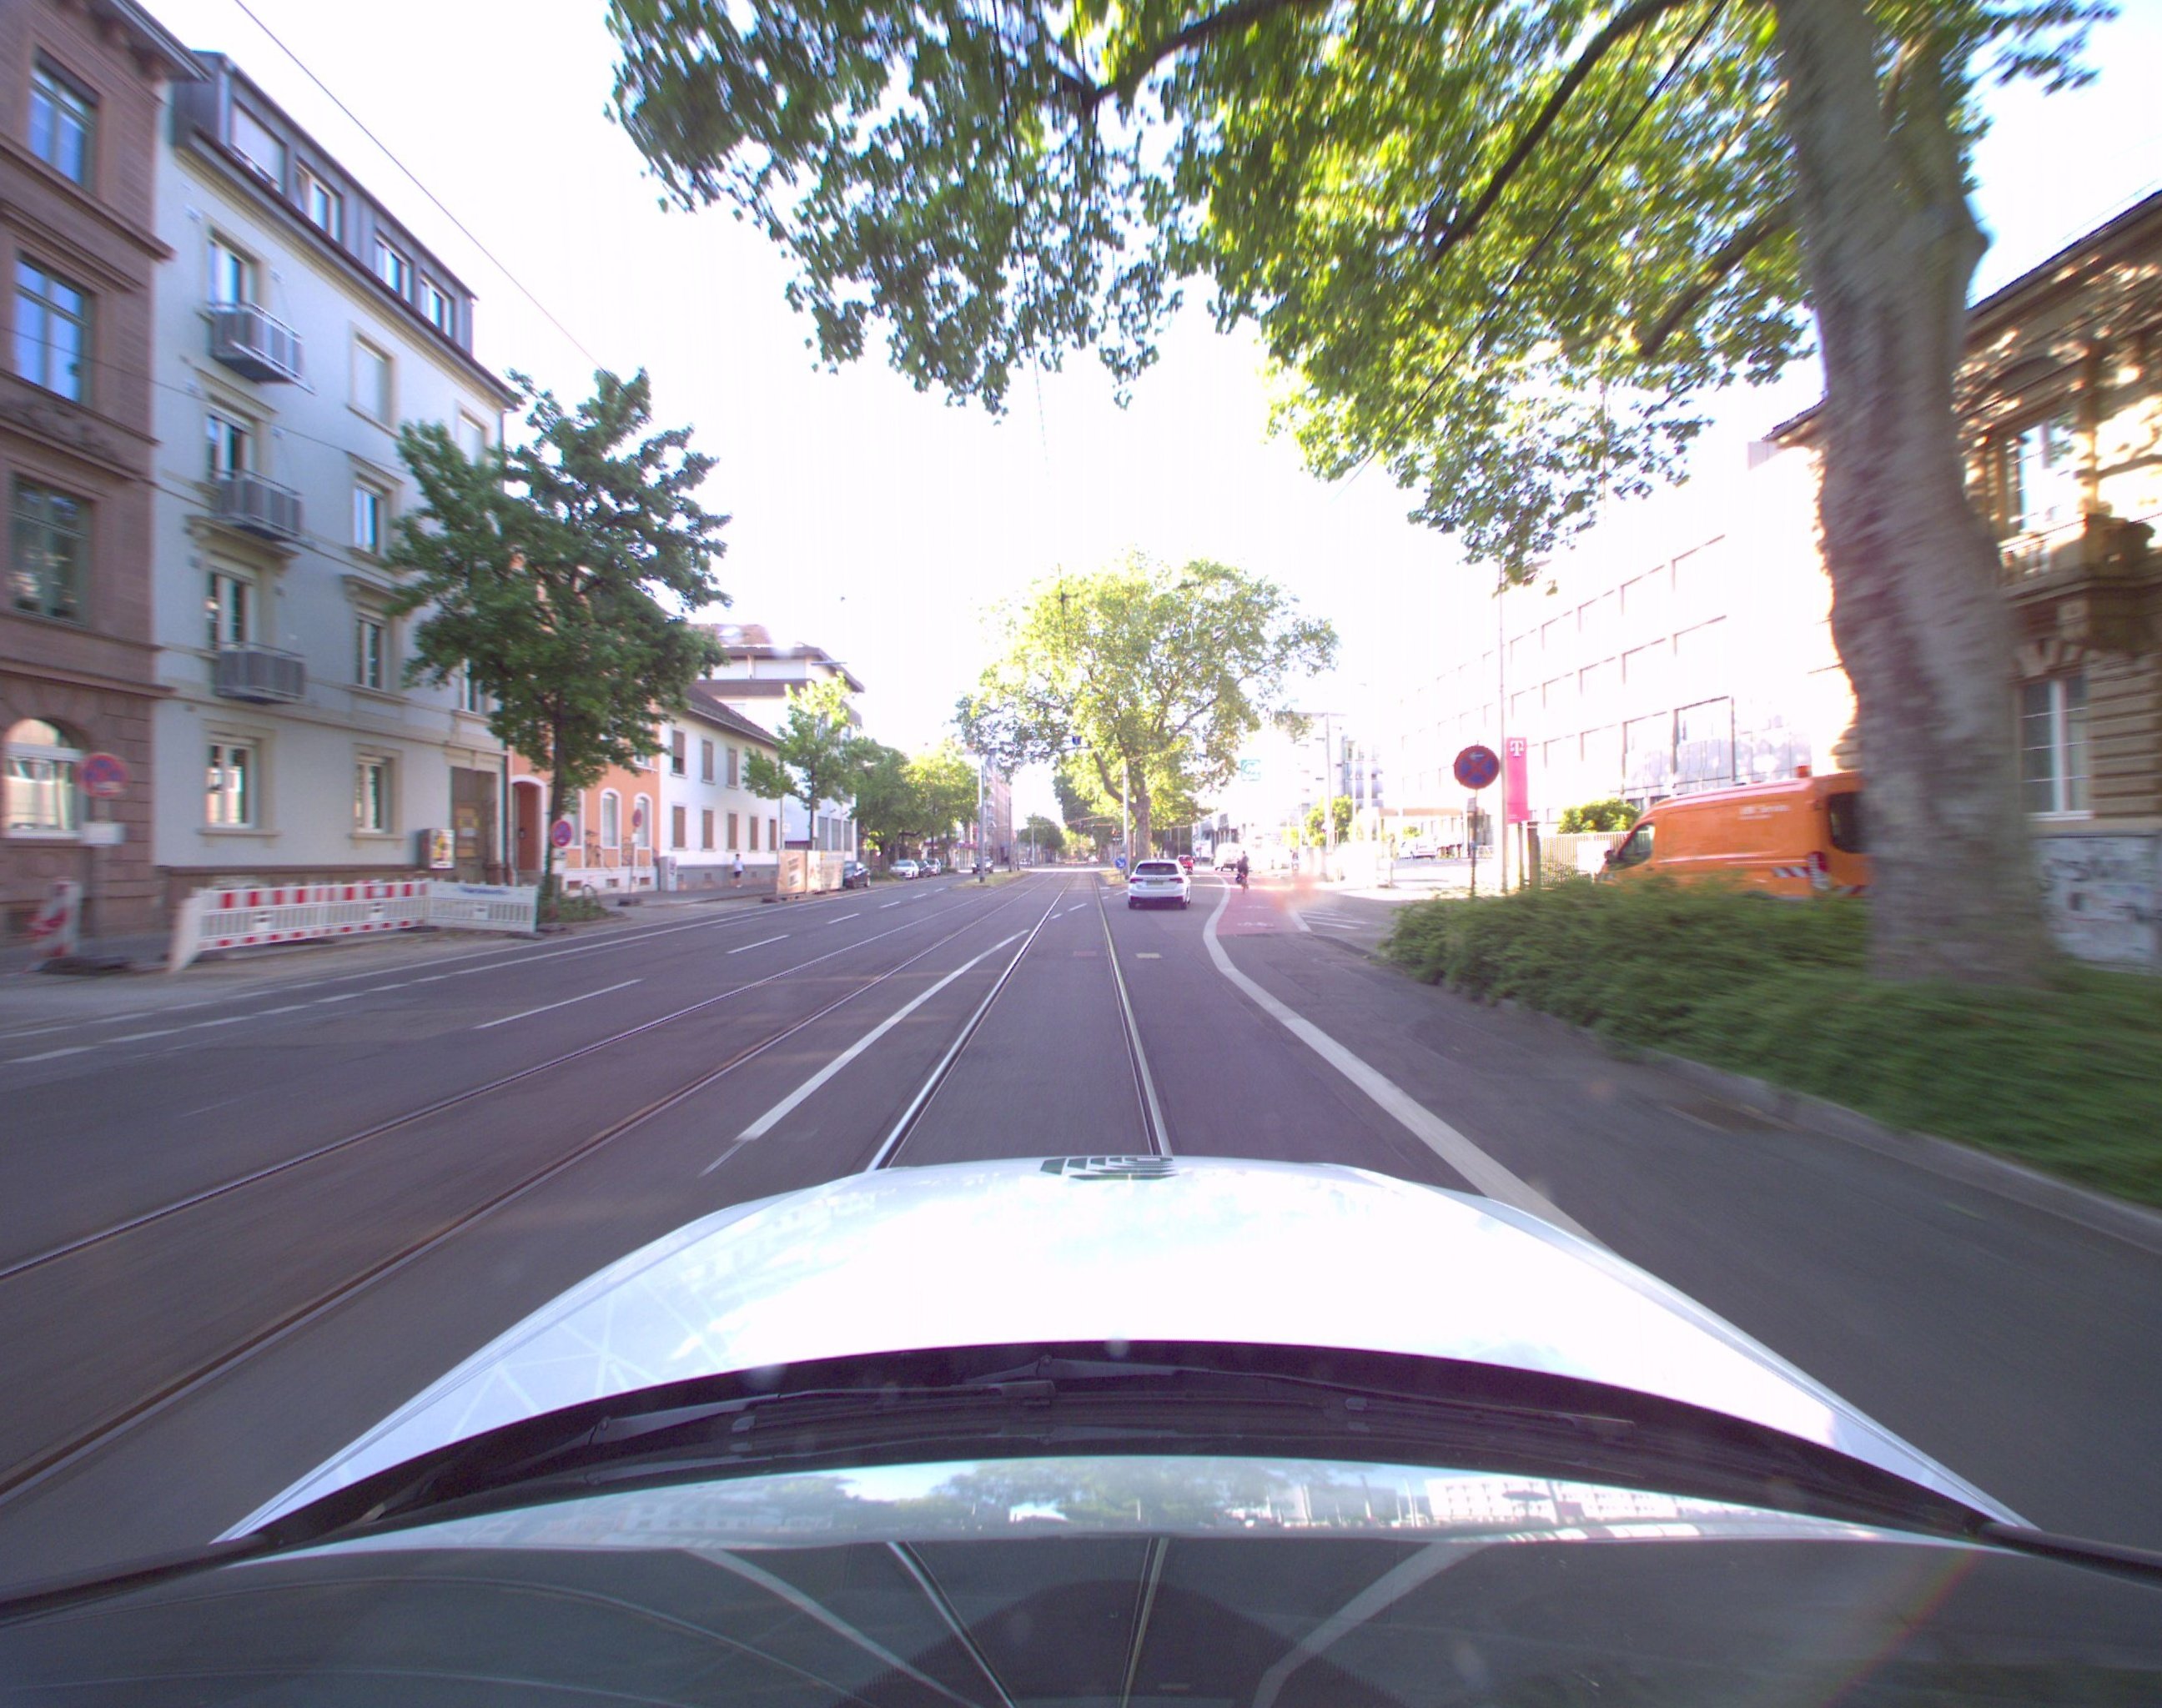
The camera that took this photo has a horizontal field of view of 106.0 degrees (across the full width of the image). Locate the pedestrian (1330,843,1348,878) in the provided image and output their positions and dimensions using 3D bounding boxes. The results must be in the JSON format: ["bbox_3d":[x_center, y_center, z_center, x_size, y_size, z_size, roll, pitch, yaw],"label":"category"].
[{"bbox_3d":[12.339,0.305,38.940,0.689,1.684,0.936,-1,-1,24],"label":"pedestrian"}]

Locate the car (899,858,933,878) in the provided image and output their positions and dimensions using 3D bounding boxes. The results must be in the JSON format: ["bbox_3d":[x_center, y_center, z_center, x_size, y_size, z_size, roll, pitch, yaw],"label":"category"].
[{"bbox_3d":[-13.522,1.119,67.061,1.988,1.476,4.646,-1,0,-2],"label":"car"}]

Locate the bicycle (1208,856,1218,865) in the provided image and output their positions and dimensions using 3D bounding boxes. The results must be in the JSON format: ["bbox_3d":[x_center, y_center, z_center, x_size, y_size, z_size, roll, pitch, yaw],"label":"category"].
[{"bbox_3d":[18.511,0.916,114.225,0.790,1.161,2.498,-1,0,-2],"label":"bicycle"}]

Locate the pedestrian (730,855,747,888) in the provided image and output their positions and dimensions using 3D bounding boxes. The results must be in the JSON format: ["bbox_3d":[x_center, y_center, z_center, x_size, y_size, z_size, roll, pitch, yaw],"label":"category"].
[{"bbox_3d":[-16.879,0.862,40.161,0.592,1.570,0.639,-1,0,-3],"label":"pedestrian"}]

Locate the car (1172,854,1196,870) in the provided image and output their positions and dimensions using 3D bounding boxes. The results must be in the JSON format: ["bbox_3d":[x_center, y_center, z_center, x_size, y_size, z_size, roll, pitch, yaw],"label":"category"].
[{"bbox_3d":[10.251,0.771,81.224,1.833,1.489,3.716,-1,0,0],"label":"car"}]

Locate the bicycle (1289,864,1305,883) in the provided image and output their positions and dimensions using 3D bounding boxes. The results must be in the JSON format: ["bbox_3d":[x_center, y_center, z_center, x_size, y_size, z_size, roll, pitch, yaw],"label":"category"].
[{"bbox_3d":[12.622,1.120,47.652,0.670,1.032,1.906,-3,-1,10],"label":"bicycle"}]

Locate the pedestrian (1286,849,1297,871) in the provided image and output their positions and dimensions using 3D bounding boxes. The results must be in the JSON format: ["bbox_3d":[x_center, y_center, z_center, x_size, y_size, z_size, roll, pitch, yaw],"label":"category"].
[{"bbox_3d":[17.351,0.495,67.271,0.781,1.748,0.774,-2,0,9],"label":"pedestrian"}]

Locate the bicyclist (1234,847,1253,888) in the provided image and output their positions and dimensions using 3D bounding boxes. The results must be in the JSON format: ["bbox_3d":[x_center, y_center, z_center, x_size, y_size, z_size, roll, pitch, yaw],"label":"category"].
[{"bbox_3d":[6.609,0.540,33.110,0.738,1.669,0.747,1,0,10],"label":"bicyclist"}]

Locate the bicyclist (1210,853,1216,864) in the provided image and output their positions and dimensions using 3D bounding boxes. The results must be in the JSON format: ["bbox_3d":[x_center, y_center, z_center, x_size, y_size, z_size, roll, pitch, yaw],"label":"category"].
[{"bbox_3d":[18.511,0.642,114.089,0.783,1.635,0.638,-1,0,-3],"label":"bicyclist"}]

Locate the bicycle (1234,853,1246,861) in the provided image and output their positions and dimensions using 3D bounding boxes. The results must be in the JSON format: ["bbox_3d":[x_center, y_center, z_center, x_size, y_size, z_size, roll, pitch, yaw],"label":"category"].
[{"bbox_3d":[29.008,0.500,148.446,1.929,1.443,0.575,-1,0,-2],"label":"bicycle"}]

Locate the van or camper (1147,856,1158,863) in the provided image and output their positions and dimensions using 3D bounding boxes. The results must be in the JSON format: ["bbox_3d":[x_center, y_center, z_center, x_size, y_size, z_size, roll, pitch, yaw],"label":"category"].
[{"bbox_3d":[18.205,1.403,206.650,2.140,1.750,4.427,-2,0,-3],"label":"van or camper"}]

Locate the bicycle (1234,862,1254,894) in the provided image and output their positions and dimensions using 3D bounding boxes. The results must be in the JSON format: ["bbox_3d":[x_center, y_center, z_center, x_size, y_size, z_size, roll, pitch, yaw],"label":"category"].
[{"bbox_3d":[6.623,0.942,33.180,0.739,1.224,2.162,1,0,10],"label":"bicycle"}]

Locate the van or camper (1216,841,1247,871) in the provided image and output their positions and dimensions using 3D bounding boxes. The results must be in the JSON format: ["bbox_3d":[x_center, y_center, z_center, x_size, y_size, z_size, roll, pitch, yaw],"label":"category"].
[{"bbox_3d":[14.478,0.207,78.761,2.259,2.733,6.353,1,0,4],"label":"van or camper"}]

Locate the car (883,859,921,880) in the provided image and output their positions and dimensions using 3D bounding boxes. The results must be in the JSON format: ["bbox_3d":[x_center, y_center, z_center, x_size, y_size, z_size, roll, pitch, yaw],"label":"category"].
[{"bbox_3d":[-13.358,1.117,61.145,1.988,1.471,4.402,-1,0,-2],"label":"car"}]

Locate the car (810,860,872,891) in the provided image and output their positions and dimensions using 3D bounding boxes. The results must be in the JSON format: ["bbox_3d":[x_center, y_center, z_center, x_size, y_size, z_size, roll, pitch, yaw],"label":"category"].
[{"bbox_3d":[-12.850,1.109,43.943,1.988,1.513,4.722,-1,0,-1],"label":"car"}]

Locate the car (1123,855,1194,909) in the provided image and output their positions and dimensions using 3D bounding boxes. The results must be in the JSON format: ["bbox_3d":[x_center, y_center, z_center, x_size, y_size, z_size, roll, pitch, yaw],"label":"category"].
[{"bbox_3d":[2.431,0.782,24.826,1.790,1.501,3.993,0,0,11],"label":"car"}]

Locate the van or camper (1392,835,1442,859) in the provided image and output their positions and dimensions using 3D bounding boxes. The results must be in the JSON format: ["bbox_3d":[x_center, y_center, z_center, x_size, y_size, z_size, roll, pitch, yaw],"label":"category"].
[{"bbox_3d":[27.807,-0.569,67.634,1.975,1.909,4.997,-2,0,-1],"label":"van or camper"}]

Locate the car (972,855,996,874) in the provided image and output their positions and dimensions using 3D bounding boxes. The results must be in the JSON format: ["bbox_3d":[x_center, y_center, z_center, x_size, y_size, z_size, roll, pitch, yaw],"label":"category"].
[{"bbox_3d":[-9.349,0.996,78.766,1.988,1.689,4.306,-1,0,-2],"label":"car"}]

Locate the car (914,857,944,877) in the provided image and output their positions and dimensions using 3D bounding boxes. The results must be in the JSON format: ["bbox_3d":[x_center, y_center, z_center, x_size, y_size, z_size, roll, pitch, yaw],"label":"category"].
[{"bbox_3d":[-13.754,1.128,73.943,1.988,1.689,4.174,-1,0,-2],"label":"car"}]

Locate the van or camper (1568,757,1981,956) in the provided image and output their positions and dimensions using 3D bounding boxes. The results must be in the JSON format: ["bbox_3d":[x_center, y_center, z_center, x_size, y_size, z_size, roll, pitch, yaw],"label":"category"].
[{"bbox_3d":[10.786,0.035,13.528,2.028,2.559,5.775,-1,0,2],"label":"van or camper"}]

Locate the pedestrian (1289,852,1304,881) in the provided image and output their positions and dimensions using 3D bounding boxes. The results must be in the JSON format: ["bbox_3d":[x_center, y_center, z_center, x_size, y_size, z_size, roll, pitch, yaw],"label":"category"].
[{"bbox_3d":[12.610,0.718,47.701,0.665,1.619,1.105,-3,-1,9],"label":"pedestrian"}]
